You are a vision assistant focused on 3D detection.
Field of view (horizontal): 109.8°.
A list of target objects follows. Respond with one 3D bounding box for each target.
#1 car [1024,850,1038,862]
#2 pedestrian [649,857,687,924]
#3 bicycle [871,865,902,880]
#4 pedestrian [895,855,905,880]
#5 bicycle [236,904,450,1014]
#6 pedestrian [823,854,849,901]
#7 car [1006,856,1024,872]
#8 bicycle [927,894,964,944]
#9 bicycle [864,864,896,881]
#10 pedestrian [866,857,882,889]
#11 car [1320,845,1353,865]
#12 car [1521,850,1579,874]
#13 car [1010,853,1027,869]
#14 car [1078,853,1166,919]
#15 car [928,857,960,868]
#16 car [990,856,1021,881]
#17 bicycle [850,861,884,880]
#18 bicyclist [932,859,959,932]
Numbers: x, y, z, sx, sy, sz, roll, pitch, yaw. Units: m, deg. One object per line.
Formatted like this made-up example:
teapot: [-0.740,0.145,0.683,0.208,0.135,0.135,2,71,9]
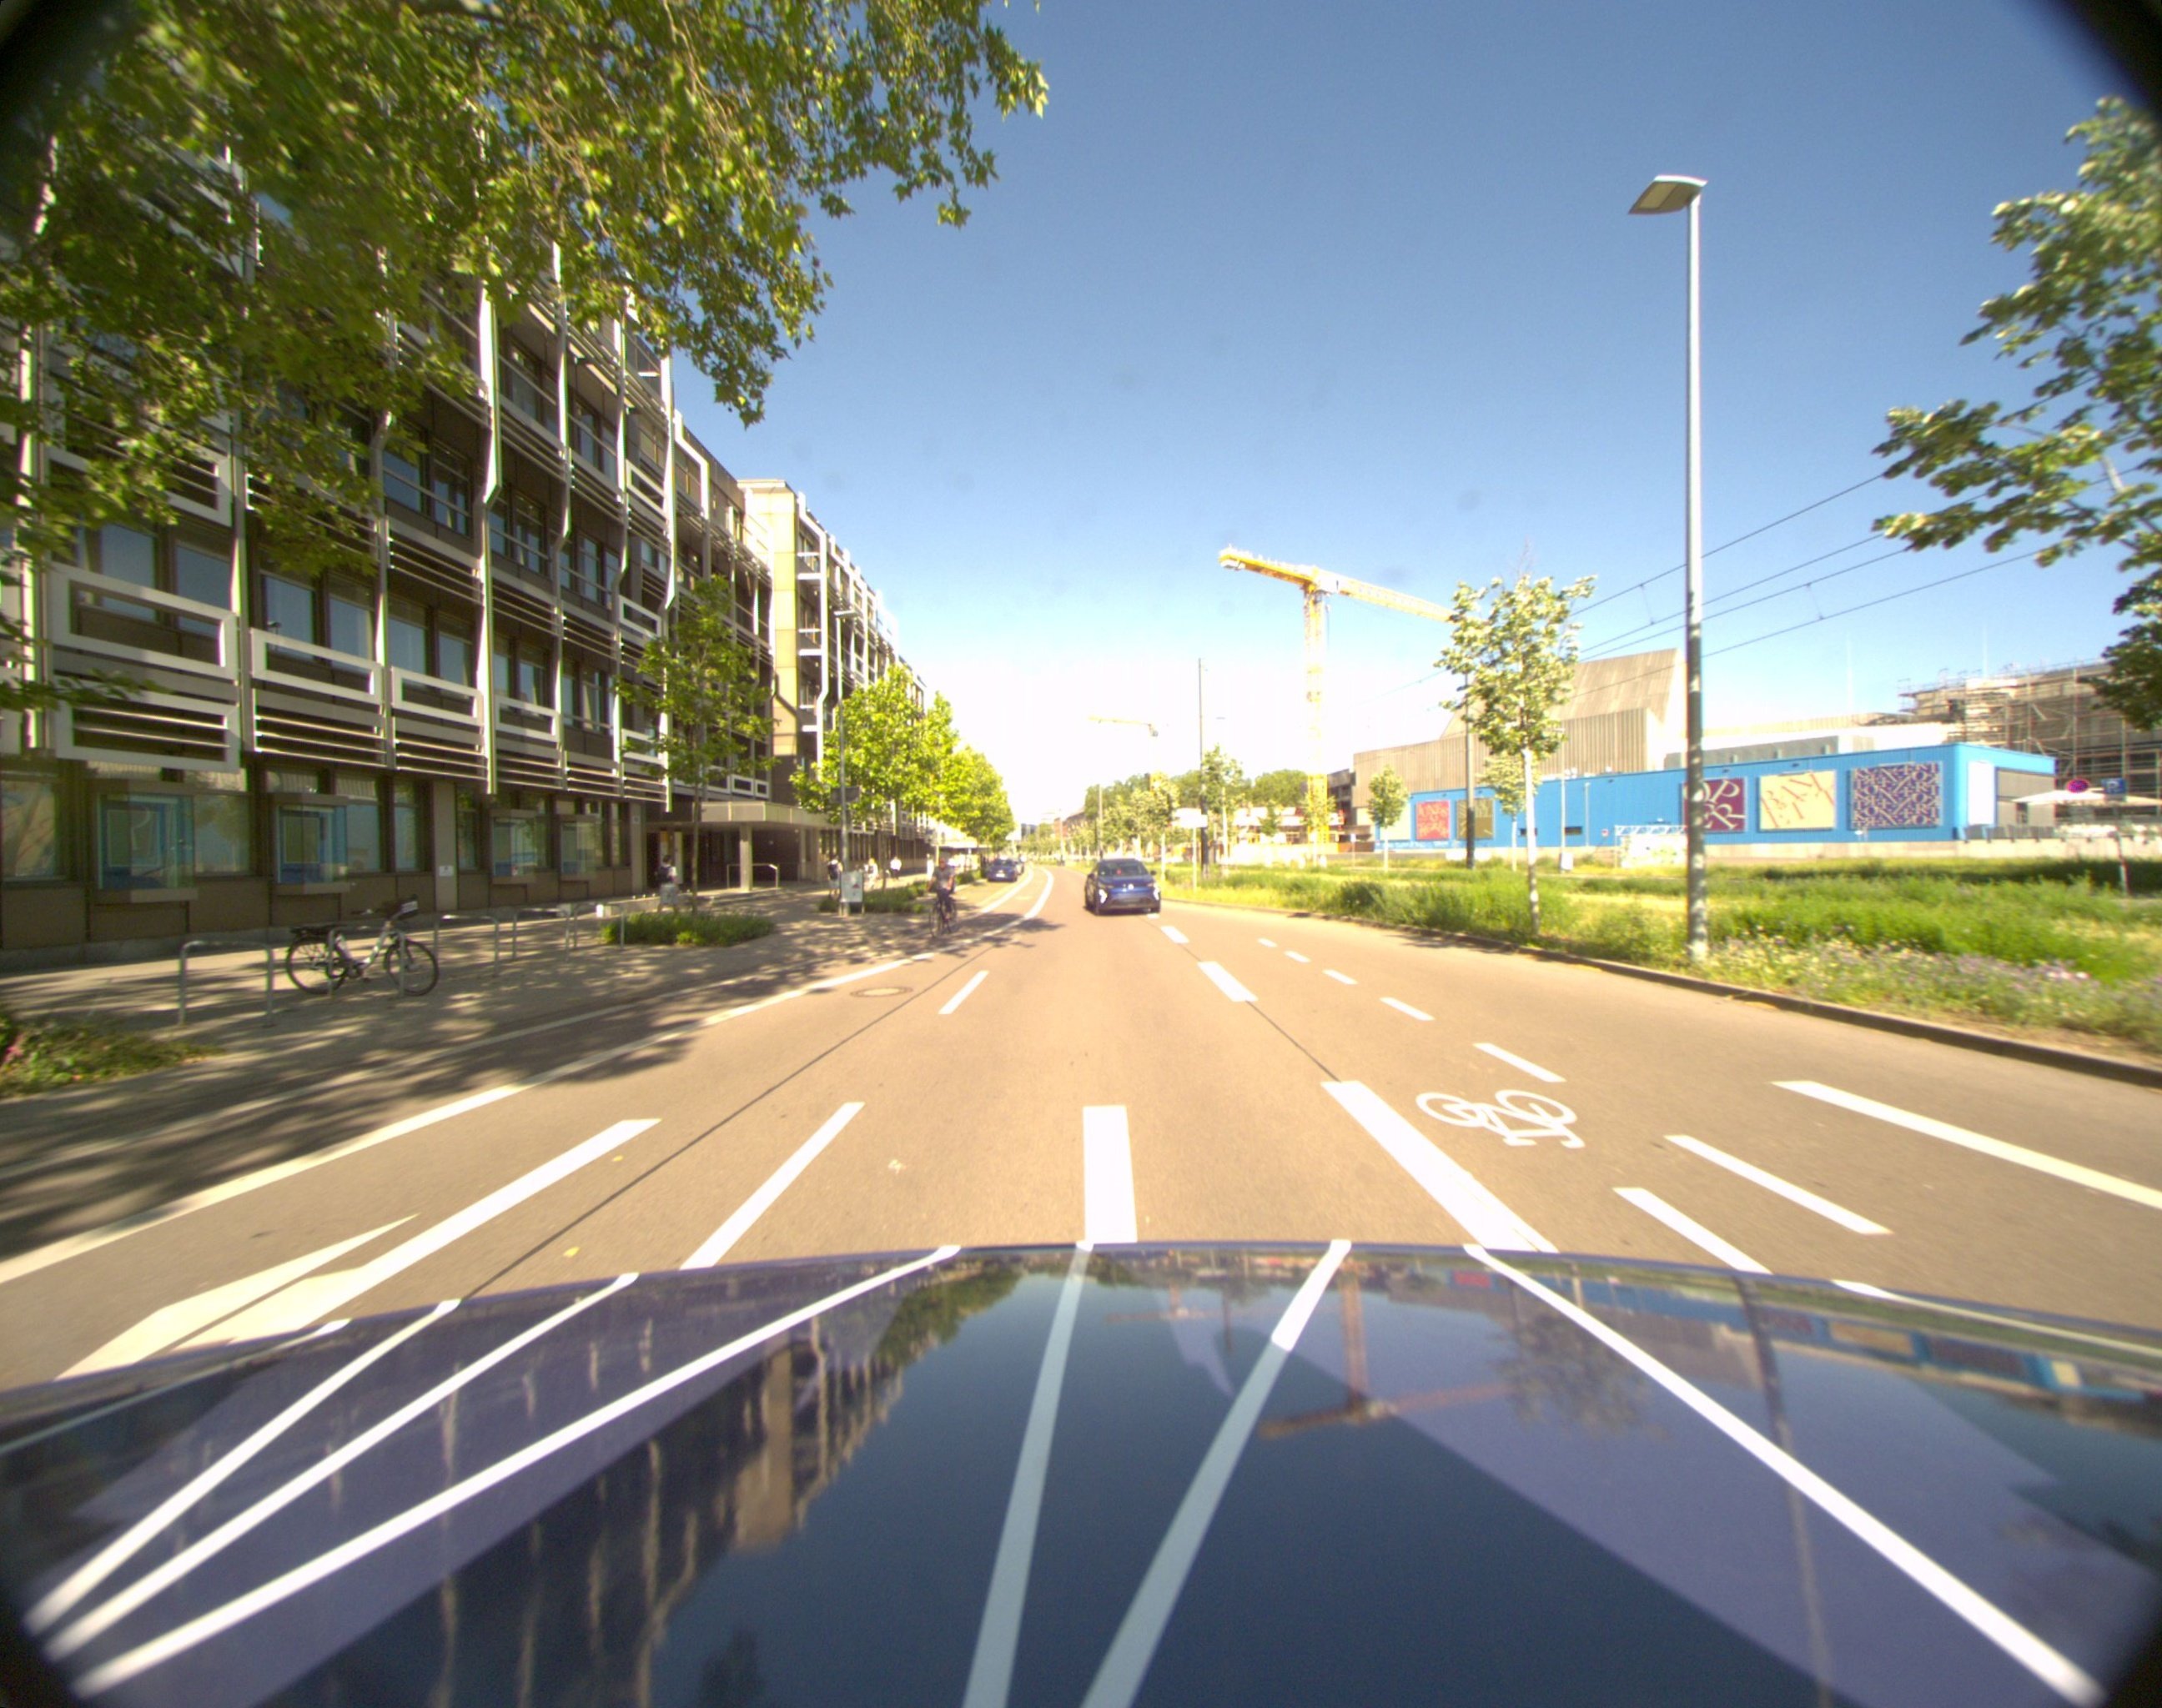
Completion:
car: [-8.447,0.354,128.800,1.822,1.783,3.999,-3,1,1]
pedestrian: [-10.737,0.933,19.777,0.512,1.691,0.774,-1,1,0]
bicycle: [-12.326,1.167,48.121,1.862,0.933,0.427,1,1,2]
pedestrian: [-11.710,0.845,49.177,0.512,1.613,0.674,1,1,0]
bicycle: [-8.761,1.230,9.068,1.942,1.229,0.579,0,0,-2]
pedestrian: [-9.111,0.853,28.273,0.649,1.718,0.803,-1,1,0]
car: [-6.269,0.960,72.382,1.623,1.456,4.153,0,0,-4]
bicycle: [-2.986,1.402,16.907,0.499,0.900,2.196,-3,0,-3]
bicycle: [-12.377,1.154,46.869,1.862,1.005,0.427,1,1,2]
pedestrian: [-9.690,0.890,35.632,0.512,1.466,0.736,-1,1,0]
car: [24.798,0.038,73.874,1.802,1.787,3.999,-3,1,2]
car: [33.145,0.550,53.791,1.562,1.527,3.856,-3,1,-3]
car: [-6.961,0.756,84.493,1.753,1.649,4.467,-1,0,-5]
car: [1.094,0.874,22.267,1.750,1.613,4.150,-4,0,-7]
car: [-19.797,1.188,109.612,4.410,1.535,1.851,-1,1,-15]
car: [-5.362,0.986,54.247,1.854,1.647,4.847,0,0,-2]
bicycle: [-12.770,0.996,45.317,1.862,1.091,0.427,1,1,2]
bicyclist: [-3.029,0.910,17.021,0.514,1.592,0.536,-1,1,-4]
